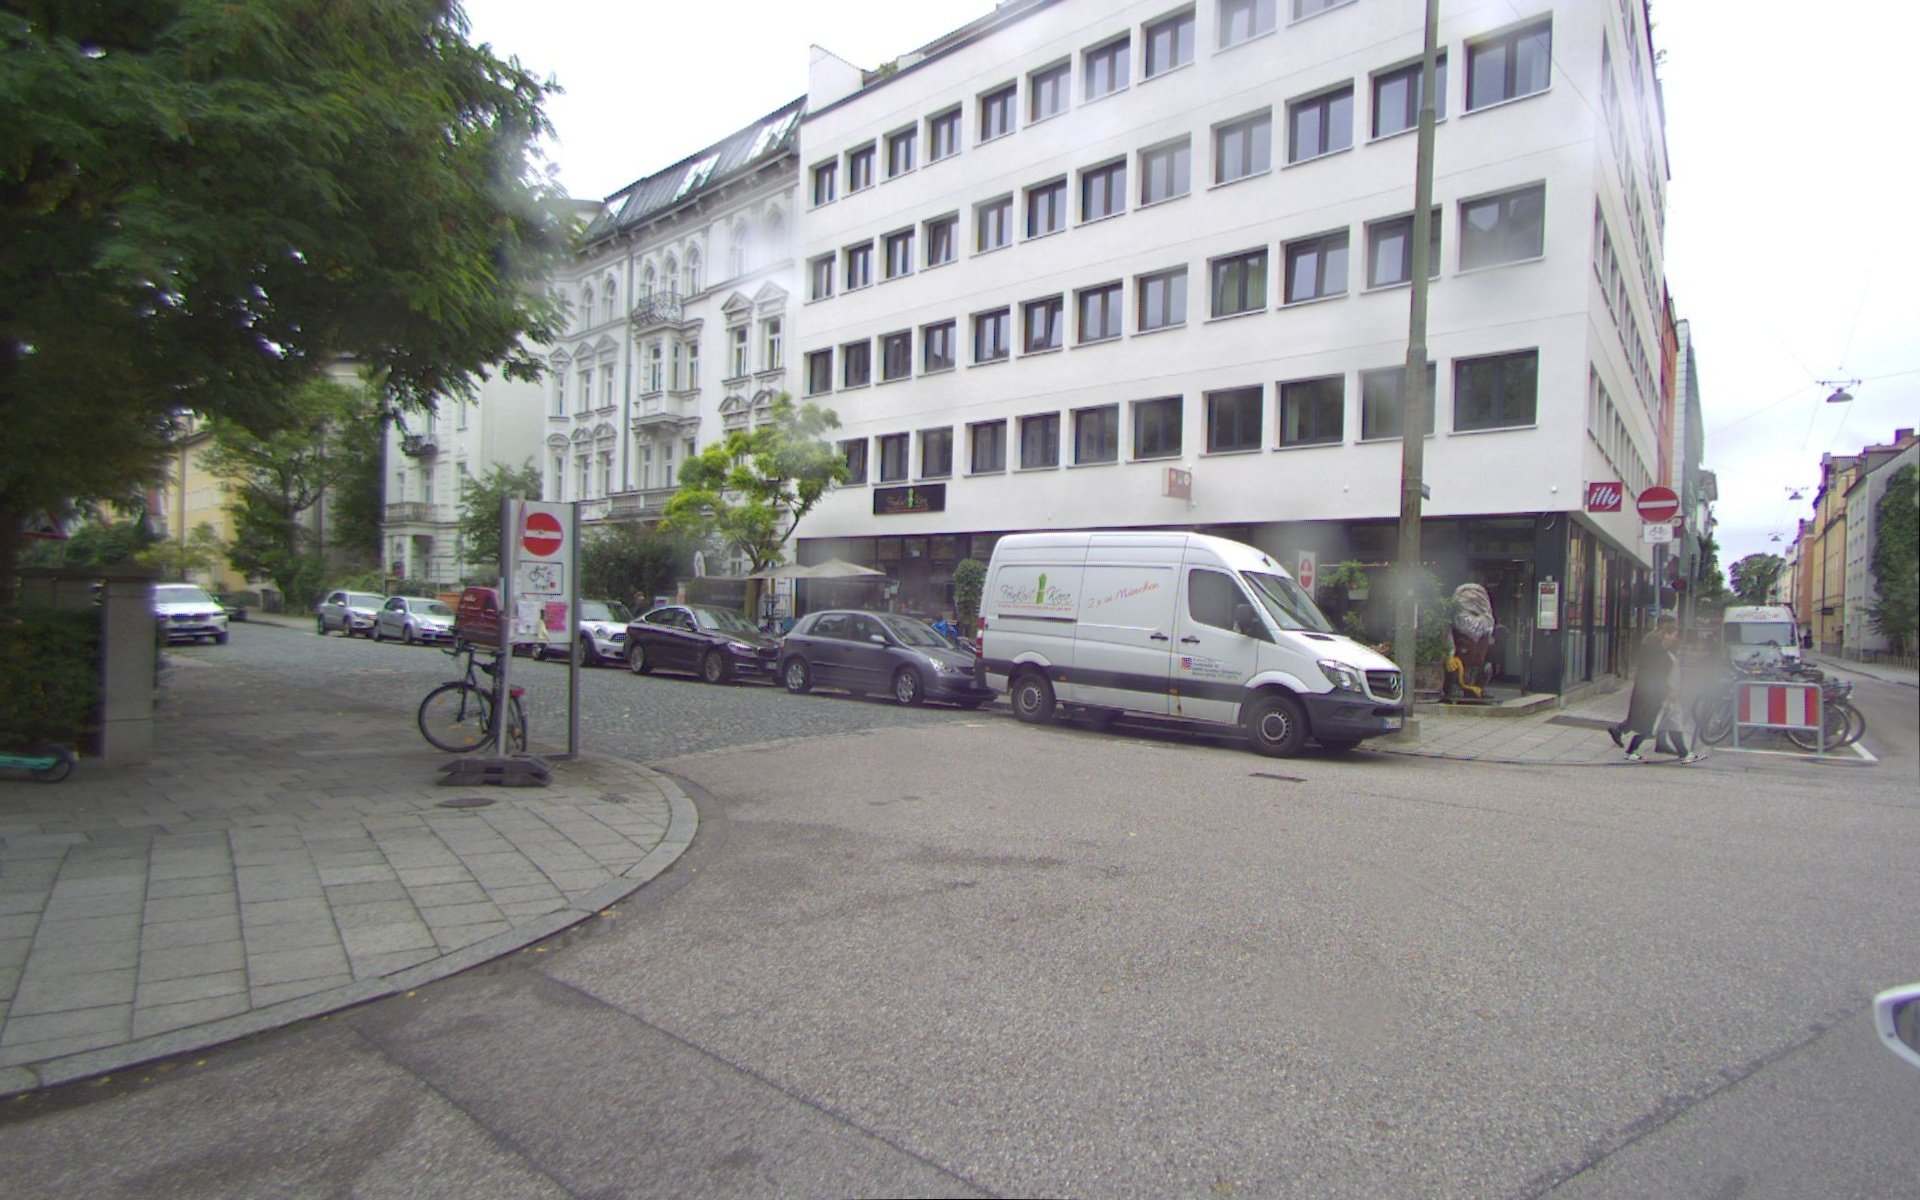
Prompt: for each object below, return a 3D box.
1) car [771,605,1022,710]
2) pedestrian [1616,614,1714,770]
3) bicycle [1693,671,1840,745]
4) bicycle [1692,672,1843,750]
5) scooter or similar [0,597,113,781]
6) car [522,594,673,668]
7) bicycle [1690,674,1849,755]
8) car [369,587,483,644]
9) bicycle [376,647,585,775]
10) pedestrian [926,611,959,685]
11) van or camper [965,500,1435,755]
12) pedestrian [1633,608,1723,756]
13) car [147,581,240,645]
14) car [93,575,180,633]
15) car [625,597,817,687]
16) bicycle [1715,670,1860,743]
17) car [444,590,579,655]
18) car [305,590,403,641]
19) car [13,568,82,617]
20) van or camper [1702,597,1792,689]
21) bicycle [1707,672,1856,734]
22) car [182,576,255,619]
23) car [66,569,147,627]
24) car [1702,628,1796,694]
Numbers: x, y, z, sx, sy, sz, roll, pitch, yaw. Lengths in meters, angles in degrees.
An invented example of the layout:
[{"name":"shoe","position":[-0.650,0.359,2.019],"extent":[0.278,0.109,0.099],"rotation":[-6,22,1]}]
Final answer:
[{"name":"car","position":[-1.132,0.918,16.796],"extent":[4.003,1.447,1.792],"rotation":[2,-3,39]},{"name":"pedestrian","position":[8.624,1.090,12.329],"extent":[0.778,1.770,0.770],"rotation":[3,3,26]},{"name":"bicycle","position":[12.449,1.646,15.569],"extent":[1.713,0.981,0.541],"rotation":[1,0,36]},{"name":"bicycle","position":[12.039,1.633,15.044],"extent":[1.713,0.981,0.541],"rotation":[1,0,36]},{"name":"scooter or similar","position":[-6.807,0.607,7.056],"extent":[1.172,1.232,0.552],"rotation":[2,1,-26]},{"name":"car","position":[-8.706,0.703,23.961],"extent":[1.789,1.564,4.082],"rotation":[4,-2,-45]},{"name":"bicycle","position":[11.625,1.621,14.496],"extent":[1.731,0.981,0.593],"rotation":[1,0,36]},{"name":"car","position":[-16.943,0.467,31.774],"extent":[4.078,1.629,1.902],"rotation":[1,0,42]},{"name":"bicycle","position":[-4.327,0.954,9.082],"extent":[1.534,0.959,0.898],"rotation":[3,-1,26]},{"name":"pedestrian","position":[-0.372,1.016,21.419],"extent":[0.580,1.501,0.652],"rotation":[4,0,-4]},{"name":"van or camper","position":[2.886,0.294,13.339],"extent":[5.841,2.712,1.863],"rotation":[1,-2,43]},{"name":"pedestrian","position":[9.363,1.043,13.134],"extent":[0.765,1.808,0.618],"rotation":[3,3,26]},{"name":"car","position":[-21.924,0.353,28.705],"extent":[1.897,1.629,4.092],"rotation":[4,-2,-39]},{"name":"car","position":[-27.260,0.102,33.204],"extent":[3.946,1.796,1.835],"rotation":[1,1,45]},{"name":"car","position":[-4.877,0.801,20.189],"extent":[4.081,1.564,1.790],"rotation":[1,-2,44]},{"name":"bicycle","position":[13.048,1.659,15.908],"extent":[1.713,0.981,0.541],"rotation":[1,0,36]},{"name":"car","position":[-12.406,0.580,27.663],"extent":[4.078,1.629,1.902],"rotation":[1,0,42]},{"name":"car","position":[-21.476,0.492,35.545],"extent":[4.078,1.629,1.902],"rotation":[1,2,42]},{"name":"car","position":[-40.176,-0.331,44.183],"extent":[3.945,2.040,1.988],"rotation":[1,0,44]},{"name":"van or camper","position":[24.217,1.278,30.824],"extent":[1.970,2.573,4.738],"rotation":[1,0,40]},{"name":"bicycle","position":[13.831,1.718,16.983],"extent":[1.886,0.874,0.616],"rotation":[1,0,36]},{"name":"car","position":[-37.144,-0.126,50.298],"extent":[3.939,2.040,1.991],"rotation":[1,0,39]},{"name":"car","position":[-32.498,-0.083,38.207],"extent":[3.945,2.040,1.988],"rotation":[1,0,44]},{"name":"car","position":[21.046,1.568,26.789],"extent":[1.810,1.555,3.982],"rotation":[1,0,39]}]
